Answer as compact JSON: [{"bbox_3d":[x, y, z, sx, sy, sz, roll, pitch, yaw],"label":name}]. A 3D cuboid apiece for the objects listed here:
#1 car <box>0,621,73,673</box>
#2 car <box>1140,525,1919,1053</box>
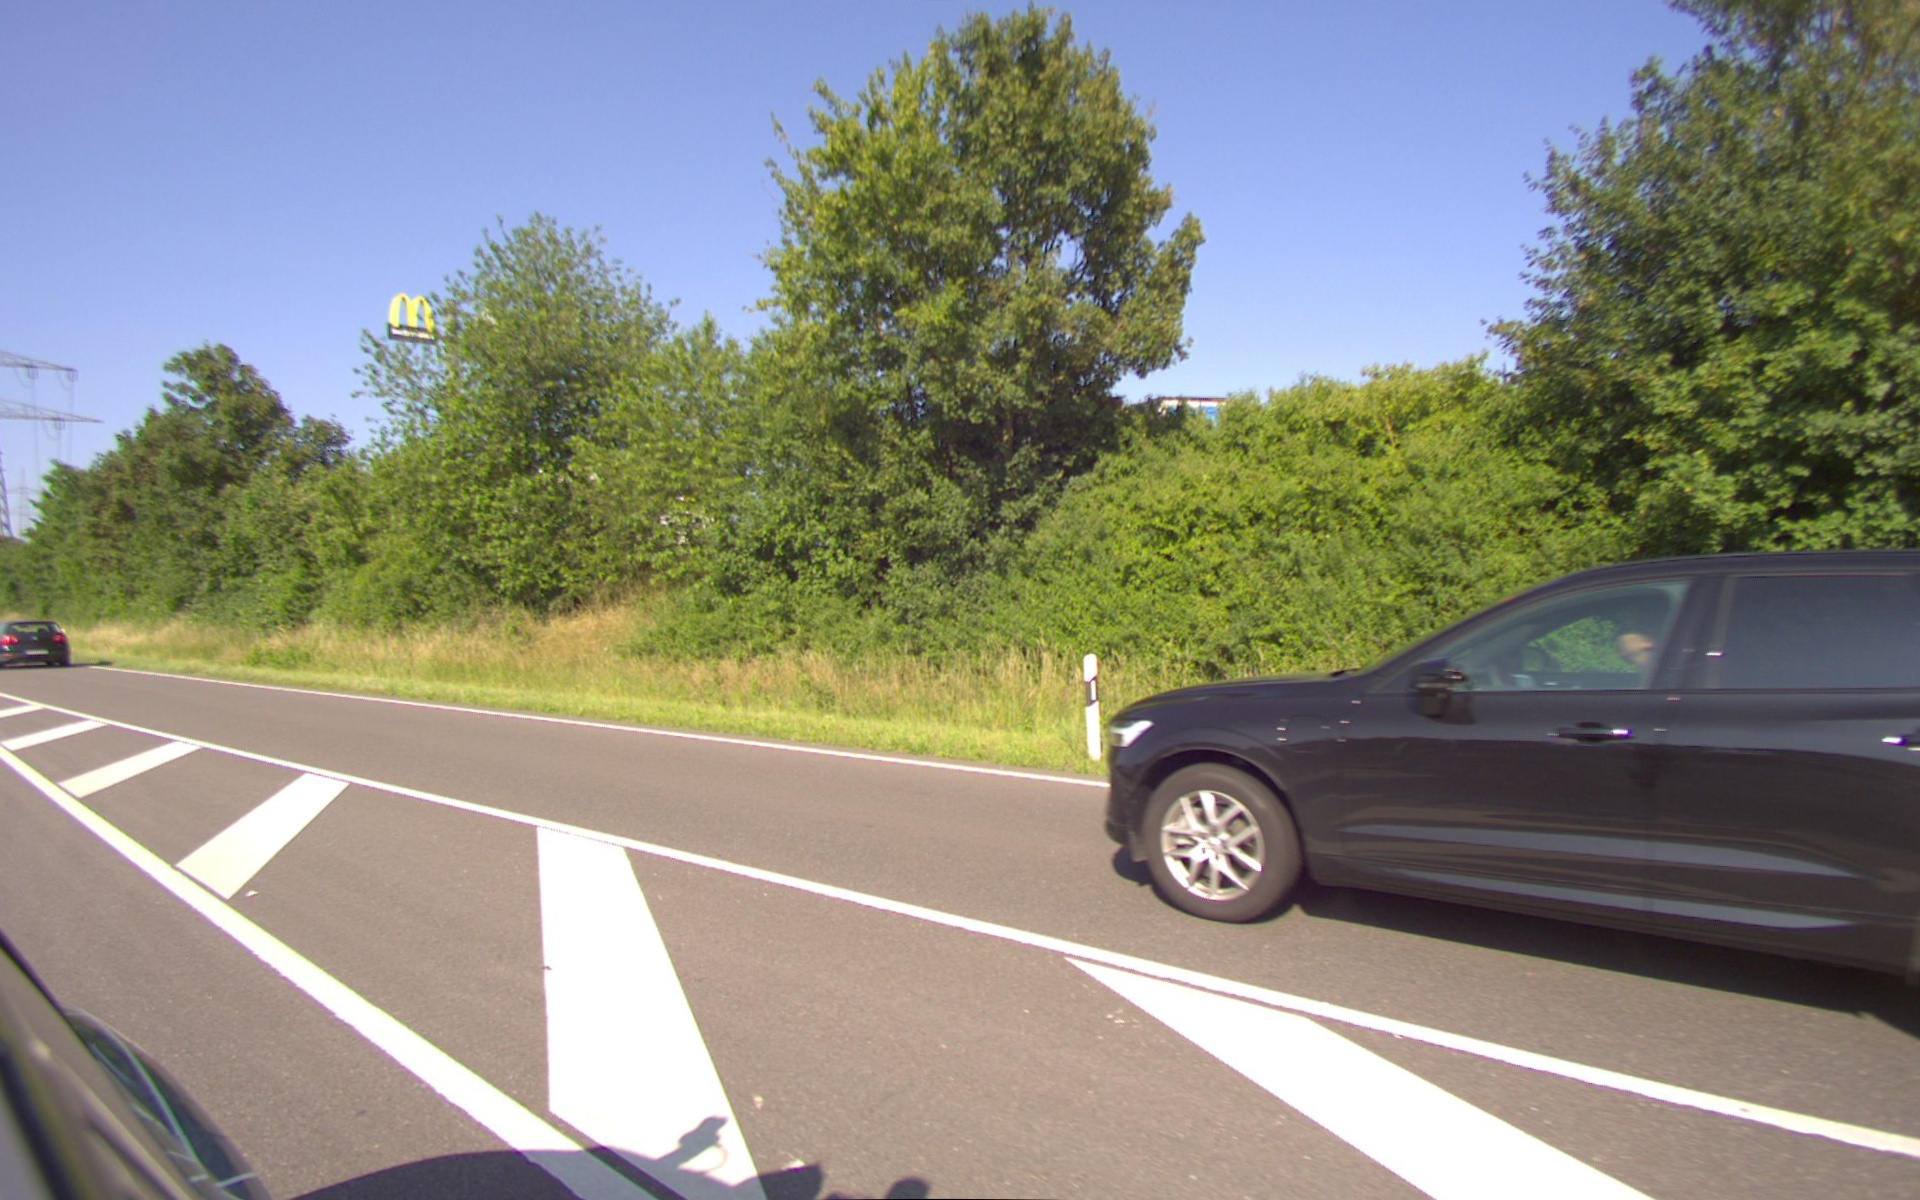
[{"bbox_3d":[-28.949,1.405,31.259,3.996,1.493,1.732,-1,-1,39],"label":"car"},{"bbox_3d":[3.159,0.594,4.115,4.424,1.605,1.903,-1,-2,39],"label":"car"}]
